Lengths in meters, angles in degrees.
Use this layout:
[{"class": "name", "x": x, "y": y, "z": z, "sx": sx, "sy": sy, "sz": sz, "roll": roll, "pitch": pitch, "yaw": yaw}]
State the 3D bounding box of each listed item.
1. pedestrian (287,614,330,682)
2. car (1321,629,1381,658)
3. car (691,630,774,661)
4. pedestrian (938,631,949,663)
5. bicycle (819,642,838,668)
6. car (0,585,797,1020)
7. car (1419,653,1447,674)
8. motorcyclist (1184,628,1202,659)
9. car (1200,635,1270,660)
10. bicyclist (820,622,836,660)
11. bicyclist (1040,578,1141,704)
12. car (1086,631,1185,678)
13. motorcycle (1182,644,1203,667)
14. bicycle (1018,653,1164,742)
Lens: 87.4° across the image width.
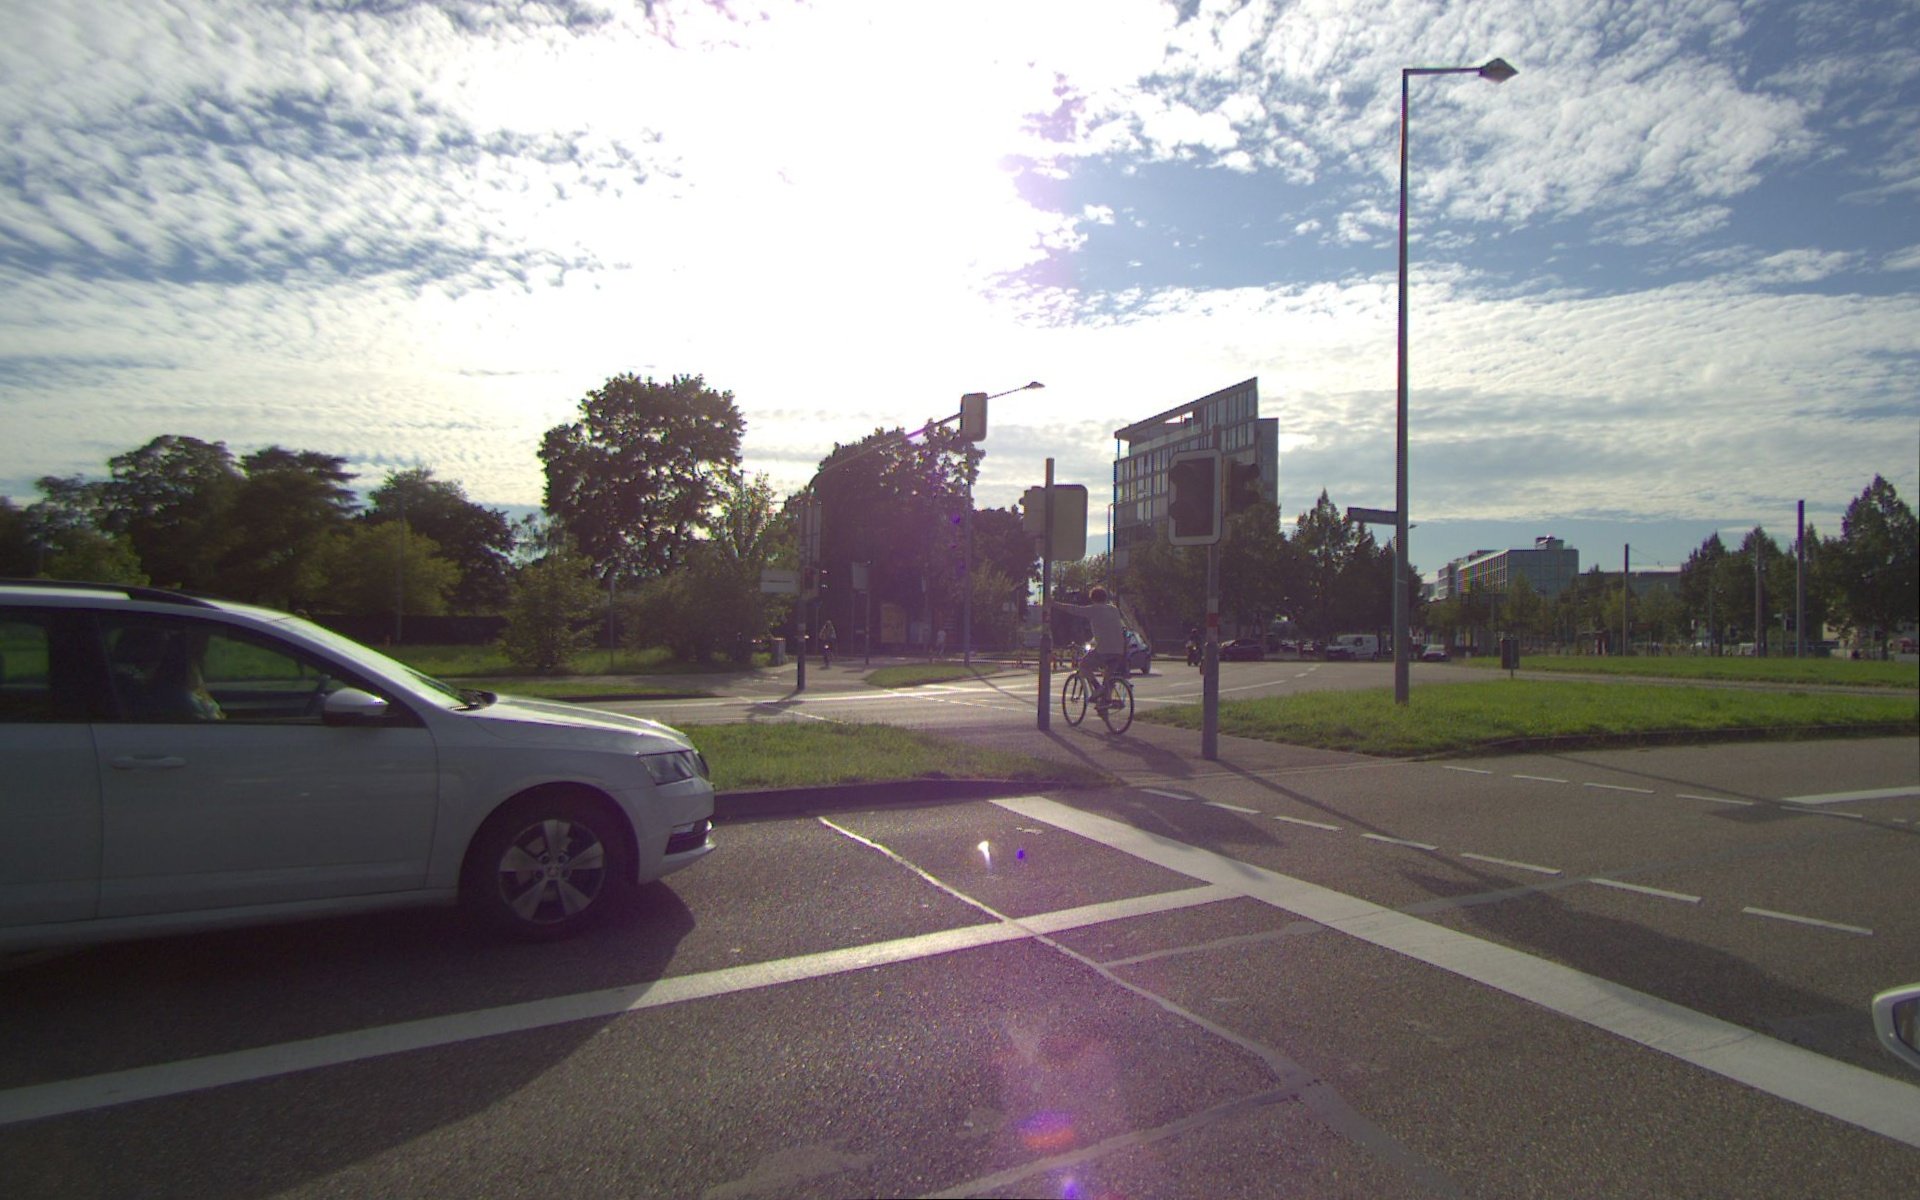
[{"class": "pedestrian", "x": -15.167, "y": 1.118, "z": 23.405, "sx": 0.747, "sy": 1.528, "sz": 0.624, "roll": 2, "pitch": 1, "yaw": -29}, {"class": "car", "x": 25.653, "y": 2.874, "z": 65.840, "sx": 4.523, "sy": 1.848, "sz": 1.667, "roll": 2, "pitch": -4, "yaw": -40}, {"class": "car", "x": -12.052, "y": 2.388, "z": 53.305, "sx": 3.913, "sy": 1.521, "sz": 1.686, "roll": 1, "pitch": -1, "yaw": 15}, {"class": "pedestrian", "x": -0.853, "y": 2.462, "z": 52.934, "sx": 0.495, "sy": 1.646, "sz": 0.548, "roll": 1, "pitch": -2, "yaw": 8}, {"class": "bicycle", "x": -5.254, "y": 2.184, "z": 40.063, "sx": 0.600, "sy": 1.001, "sz": 1.834, "roll": 1, "pitch": -1, "yaw": -11}, {"class": "car", "x": -3.223, "y": 0.700, "z": 4.442, "sx": 4.584, "sy": 1.464, "sz": 1.842, "roll": 2, "pitch": -1, "yaw": -30}, {"class": "car", "x": 36.712, "y": 4.909, "z": 77.866, "sx": 1.656, "sy": 1.520, "sz": 3.988, "roll": -2, "pitch": -4, "yaw": 29}, {"class": "motorcyclist", "x": 10.672, "y": 1.999, "z": 46.063, "sx": 0.768, "sy": 1.384, "sz": 0.944, "roll": 0, "pitch": -2, "yaw": 10}, {"class": "car", "x": 16.862, "y": 2.898, "z": 61.587, "sx": 3.942, "sy": 1.439, "sz": 1.760, "roll": 2, "pitch": -2, "yaw": -23}, {"class": "bicyclist", "x": -5.257, "y": 1.625, "z": 40.019, "sx": 0.600, "sy": 1.464, "sz": 0.697, "roll": 1, "pitch": -1, "yaw": -10}, {"class": "bicyclist", "x": 1.706, "y": 0.539, "z": 13.177, "sx": 0.985, "sy": 1.576, "sz": 0.860, "roll": 2, "pitch": -2, "yaw": -27}, {"class": "car", "x": 6.149, "y": 1.910, "z": 34.873, "sx": 1.755, "sy": 1.520, "sz": 3.979, "roll": -3, "pitch": -4, "yaw": 37}, {"class": "motorcycle", "x": 10.683, "y": 2.545, "z": 46.171, "sx": 0.768, "sy": 0.999, "sz": 2.025, "roll": 1, "pitch": -1, "yaw": 8}, {"class": "bicycle", "x": 1.680, "y": 1.232, "z": 13.200, "sx": 0.989, "sy": 1.020, "sz": 1.948, "roll": 2, "pitch": -2, "yaw": -26}]
